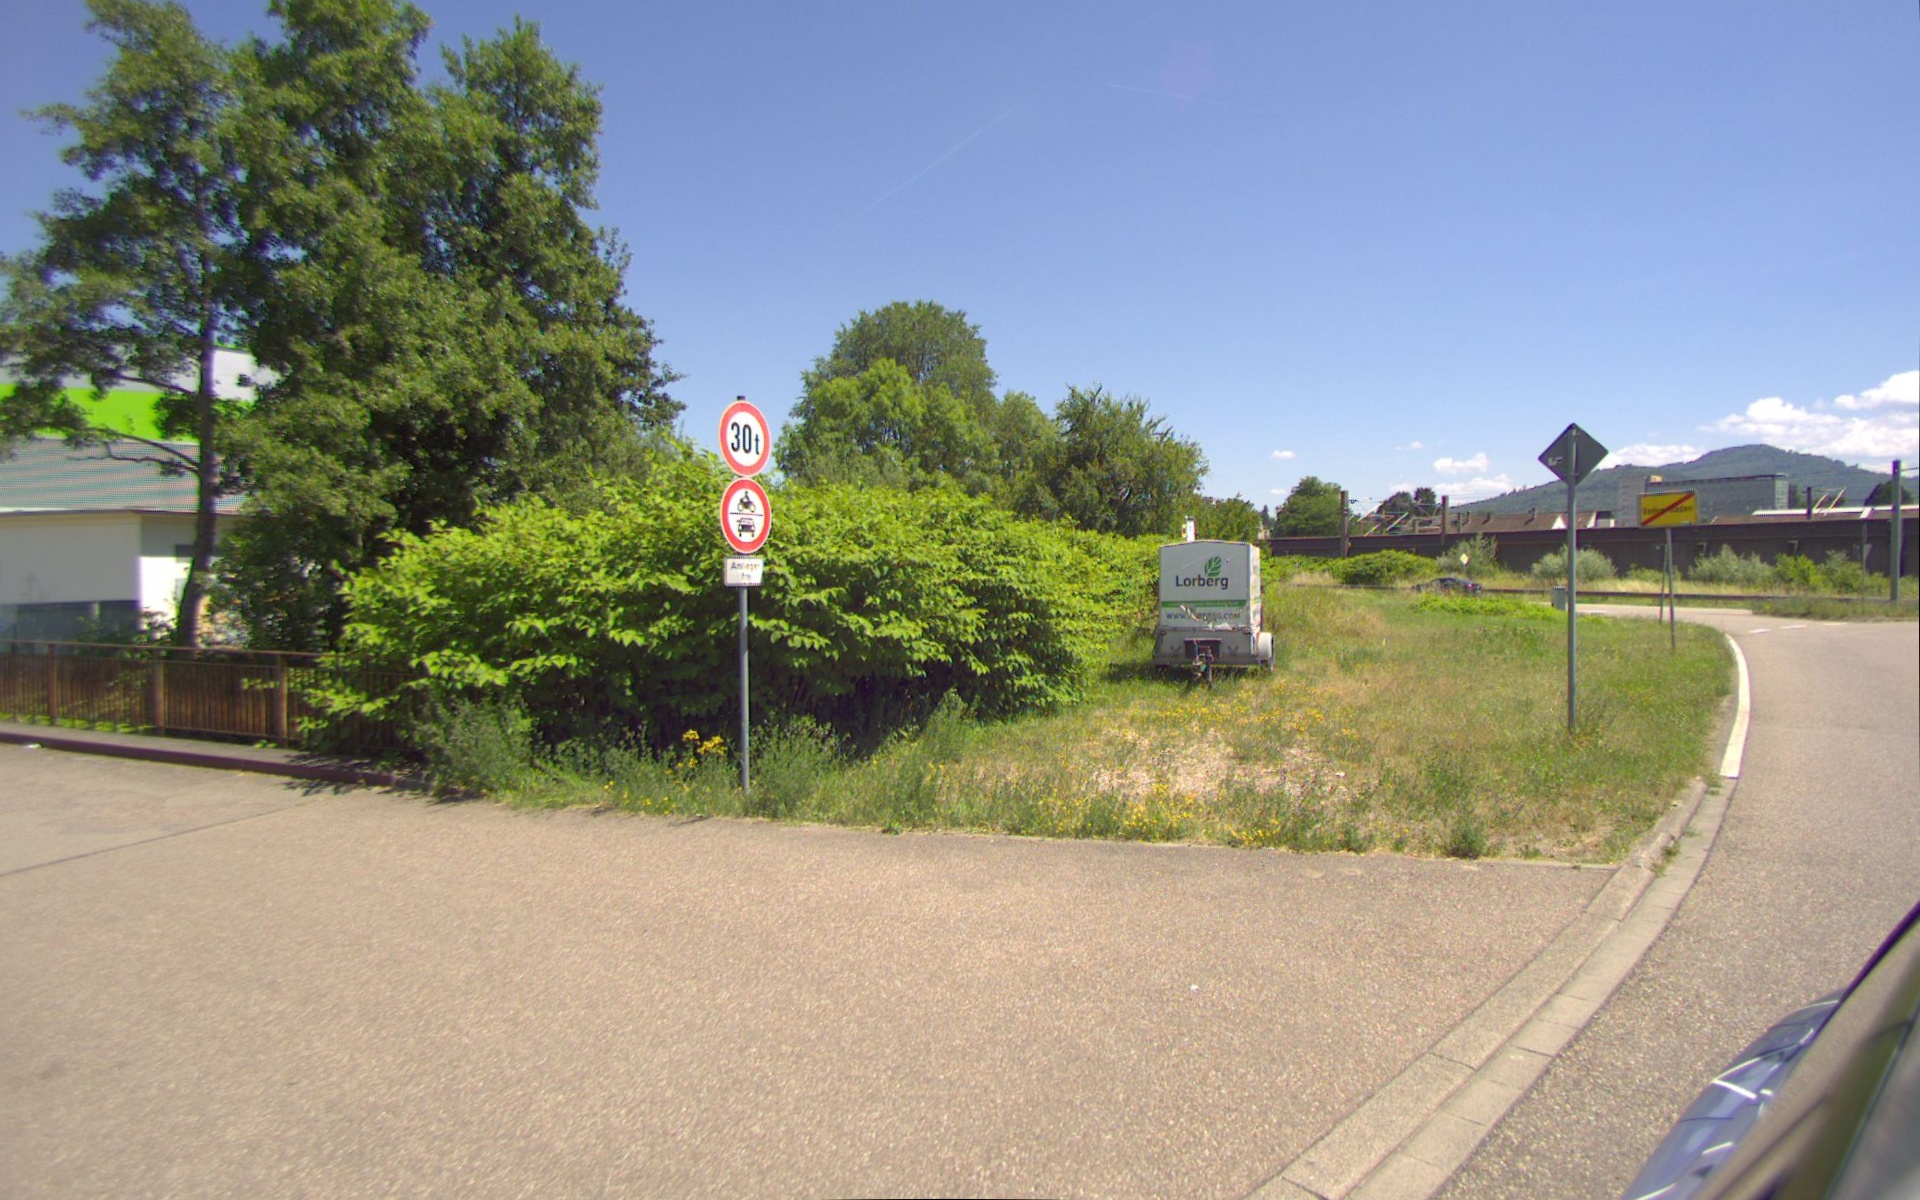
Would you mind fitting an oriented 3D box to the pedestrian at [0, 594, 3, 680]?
[{"bbox_3d":[-17.806,0.673,18.437,0.435,1.558,0.409,0,-1,31],"label":"pedestrian"}]

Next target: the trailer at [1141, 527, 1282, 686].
[{"bbox_3d":[3.983,0.017,15.560,1.827,2.103,3.947,0,2,18],"label":"trailer"}]

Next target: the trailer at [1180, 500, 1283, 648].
[{"bbox_3d":[5.501,-0.523,20.279,1.827,2.703,3.130,0,2,18],"label":"trailer"}]

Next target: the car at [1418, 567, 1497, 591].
[{"bbox_3d":[32.297,-1.408,65.844,1.752,1.472,4.527,0,2,-26],"label":"car"}]
